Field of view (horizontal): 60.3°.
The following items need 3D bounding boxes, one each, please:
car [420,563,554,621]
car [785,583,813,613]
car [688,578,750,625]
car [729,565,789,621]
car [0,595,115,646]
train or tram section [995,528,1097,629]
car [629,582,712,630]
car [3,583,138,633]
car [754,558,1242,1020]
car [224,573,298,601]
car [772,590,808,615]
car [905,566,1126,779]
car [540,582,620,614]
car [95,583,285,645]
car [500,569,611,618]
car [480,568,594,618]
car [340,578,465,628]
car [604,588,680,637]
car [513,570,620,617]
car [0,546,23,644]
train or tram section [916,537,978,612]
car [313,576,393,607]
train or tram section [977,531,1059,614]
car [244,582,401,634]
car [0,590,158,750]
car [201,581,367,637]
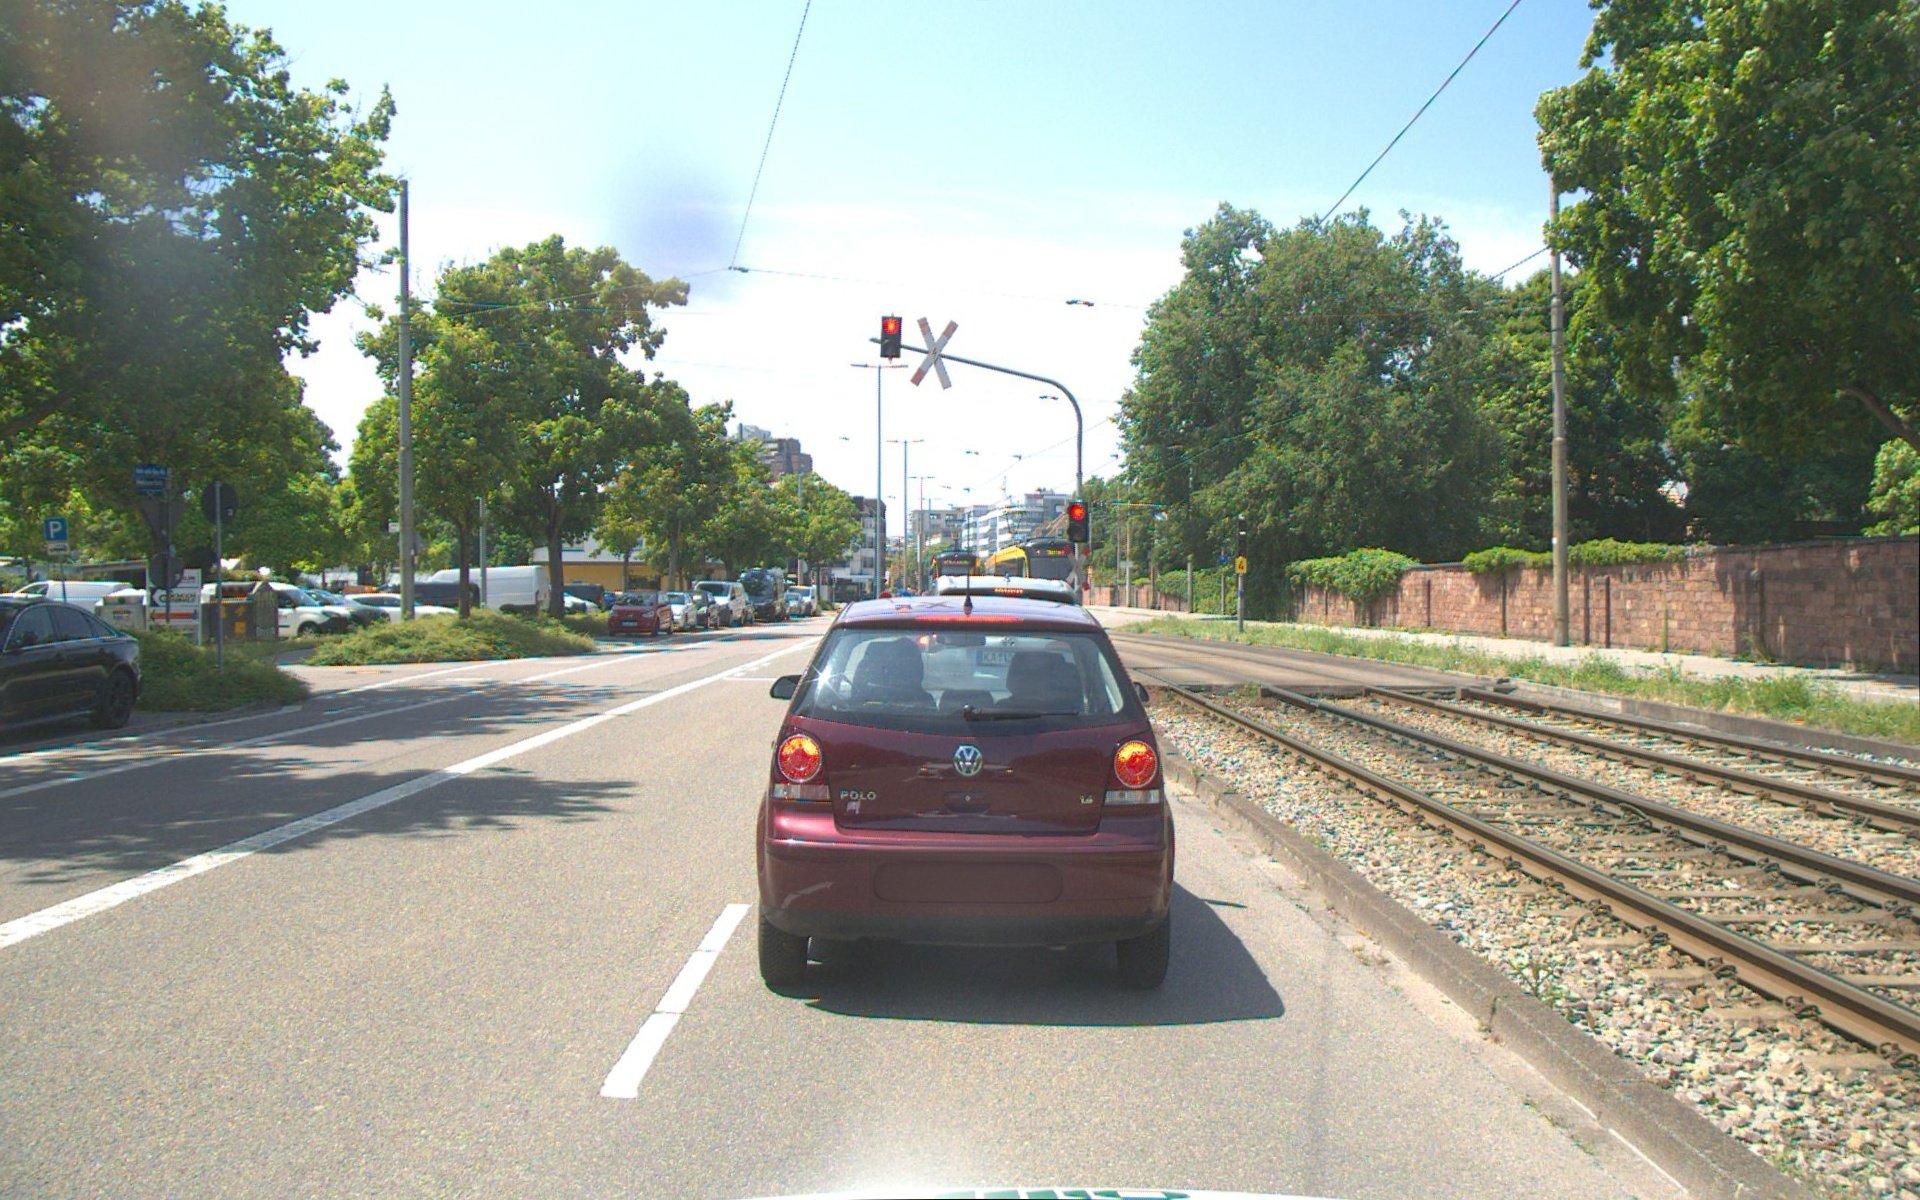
[{"bbox_3d":[-20.354,-0.348,71.308,4.993,2.283,2.378,2,-1,0],"label":"car"},{"bbox_3d":[-10.532,-0.106,108.048,1.741,1.860,3.995,2,0,-6],"label":"car"},{"bbox_3d":[-10.411,0.076,71.724,1.746,1.914,4.787,2,0,2],"label":"car"},{"bbox_3d":[-10.260,-0.327,84.771,2.313,2.739,5.307,2,0,0],"label":"car"},{"bbox_3d":[-32.441,0.717,58.667,3.913,1.682,1.812,2,-1,-9],"label":"car"},{"bbox_3d":[3.434,-0.868,70.032,2.968,3.864,13.082,0,0,-3],"label":"train or tram section"},{"bbox_3d":[-10.705,0.239,61.481,1.934,1.629,4.560,2,0,4],"label":"car"},{"bbox_3d":[-32.802,0.300,61.075,3.913,1.682,1.812,2,-1,-9],"label":"car"},{"bbox_3d":[0.086,0.635,7.679,1.638,1.548,3.999,2,0,-2],"label":"car"},{"bbox_3d":[-44.916,-0.852,106.343,3.938,1.645,1.816,2,-1,0],"label":"car"},{"bbox_3d":[-10.419,0.175,101.785,1.581,1.466,4.001,2,0,3],"label":"car"},{"bbox_3d":[0.395,0.568,15.334,1.741,1.676,3.999,2,0,-2],"label":"car"},{"bbox_3d":[-21.145,-0.090,92.122,3.938,1.645,1.816,2,-1,0],"label":"car"},{"bbox_3d":[-20.910,0.366,45.042,4.256,1.612,1.912,0,0,-3],"label":"car"},{"bbox_3d":[-20.787,-0.332,85.126,4.993,2.283,2.378,2,-1,0],"label":"car"},{"bbox_3d":[-21.082,-0.359,82.651,4.993,2.283,2.378,2,-1,0],"label":"car"},{"bbox_3d":[-20.478,0.104,60.891,3.906,1.776,1.998,0,0,-2],"label":"car"},{"bbox_3d":[-10.514,0.413,54.934,1.628,1.523,4.000,2,0,1],"label":"car"},{"bbox_3d":[-20.823,-0.316,87.720,4.993,2.283,2.378,2,-1,0],"label":"car"},{"bbox_3d":[-33.077,-0.270,51.107,6.714,3.017,2.363,2,-1,-2],"label":"car"},{"bbox_3d":[-0.815,-1.370,90.151,2.686,3.672,12.862,2,1,-3],"label":"train or tram section"},{"bbox_3d":[-35.273,-0.474,96.157,3.939,1.645,1.816,2,-1,-2],"label":"car"},{"bbox_3d":[2.767,-1.333,83.048,2.968,3.864,13.082,0,0,-3],"label":"train or tram section"},{"bbox_3d":[-20.342,0.234,52.860,4.251,1.612,1.914,0,0,5],"label":"car"},{"bbox_3d":[-10.295,0.679,17.187,1.782,1.502,4.448,2,0,-1],"label":"car"},{"bbox_3d":[-20.423,0.259,50.063,4.251,1.612,1.914,0,0,5],"label":"car"}]
